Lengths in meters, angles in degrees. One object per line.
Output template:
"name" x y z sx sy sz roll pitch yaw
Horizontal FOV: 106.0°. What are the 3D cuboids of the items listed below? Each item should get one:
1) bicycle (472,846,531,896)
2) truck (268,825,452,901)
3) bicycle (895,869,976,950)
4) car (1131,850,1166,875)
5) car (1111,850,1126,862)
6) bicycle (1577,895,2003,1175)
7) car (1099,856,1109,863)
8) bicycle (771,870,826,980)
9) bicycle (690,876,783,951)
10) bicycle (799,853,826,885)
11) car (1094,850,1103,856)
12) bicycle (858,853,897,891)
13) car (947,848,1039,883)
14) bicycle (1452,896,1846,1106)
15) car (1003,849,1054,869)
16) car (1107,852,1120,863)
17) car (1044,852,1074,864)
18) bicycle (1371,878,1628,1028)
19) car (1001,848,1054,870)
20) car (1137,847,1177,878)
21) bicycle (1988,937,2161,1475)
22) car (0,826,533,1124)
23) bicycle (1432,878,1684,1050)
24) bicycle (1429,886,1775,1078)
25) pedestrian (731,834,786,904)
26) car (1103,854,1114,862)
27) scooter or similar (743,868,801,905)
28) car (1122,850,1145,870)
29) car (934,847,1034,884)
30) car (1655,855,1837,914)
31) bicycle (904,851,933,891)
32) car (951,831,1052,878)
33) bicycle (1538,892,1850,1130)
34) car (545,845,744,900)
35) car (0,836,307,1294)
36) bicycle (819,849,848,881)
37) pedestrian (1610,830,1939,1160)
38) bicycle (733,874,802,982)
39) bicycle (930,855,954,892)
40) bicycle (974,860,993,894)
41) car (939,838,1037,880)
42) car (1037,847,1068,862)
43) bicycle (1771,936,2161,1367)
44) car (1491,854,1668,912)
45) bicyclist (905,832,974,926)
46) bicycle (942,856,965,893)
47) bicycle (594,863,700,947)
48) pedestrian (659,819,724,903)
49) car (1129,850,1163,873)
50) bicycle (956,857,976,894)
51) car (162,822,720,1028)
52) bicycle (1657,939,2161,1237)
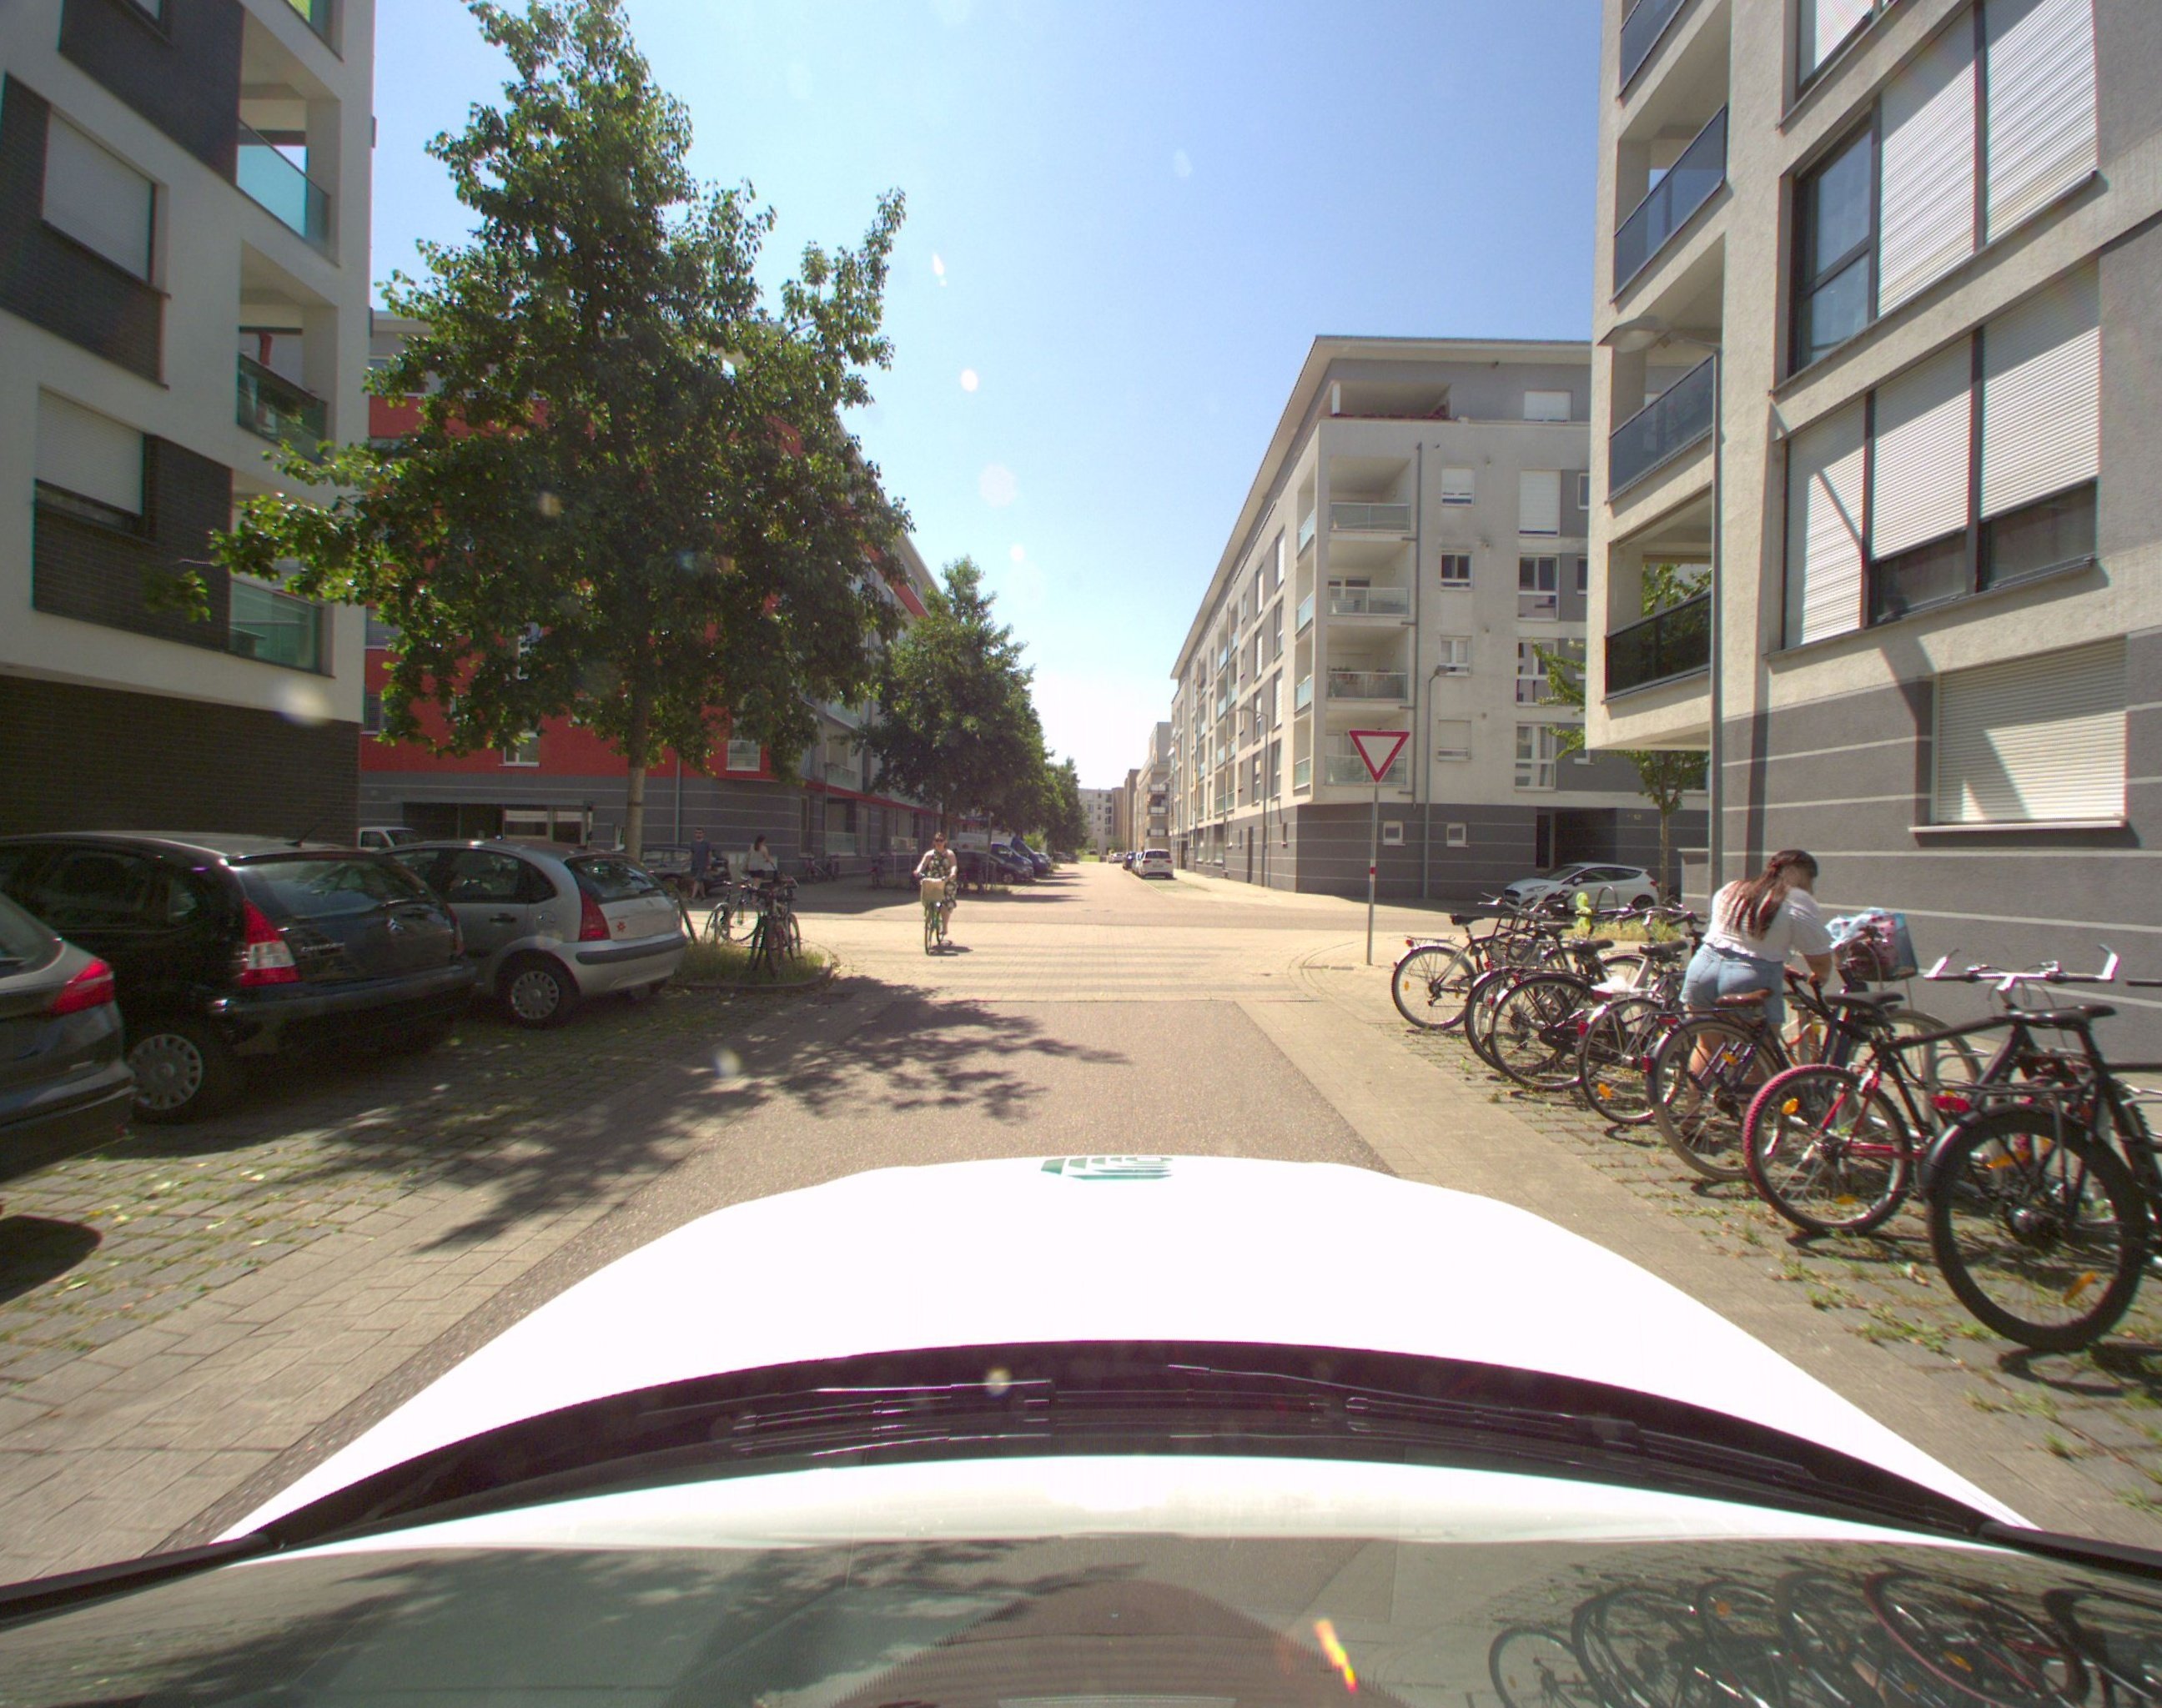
"bicycle" -16.638 0.462 23.345 2.320 1.378 0.687 1 0 37
"truck" -20.426 0.229 23.184 3.721 2.013 1.559 1 3 -2
"bicycle" -2.270 0.840 13.016 0.895 1.129 2.040 1 0 0
"car" 4.248 0.527 51.449 1.986 1.524 4.002 0 0 2
"car" 5.265 0.277 114.415 1.987 1.675 3.999 1 0 0
"bicycle" 3.503 0.836 4.050 1.922 1.218 0.459 0 0 -9
"car" 5.007 1.119 176.968 1.985 1.519 4.003 1 0 3
"bicycle" -3.436 0.814 10.000 0.371 1.180 1.814 0 0 -11
"bicycle" -5.078 0.844 12.112 0.531 0.990 1.678 3 0 3
"bicycle" -9.795 0.542 29.796 0.607 1.107 2.099 1 0 -10
"car" 4.292 -0.266 197.754 1.987 1.519 3.999 1 0 0
"bicycle" -7.073 0.601 28.401 0.687 1.170 2.224 3 1 1
"car" -4.415 0.553 41.301 4.368 1.542 1.878 2 0 0
"bicycle" 3.376 0.842 5.000 1.911 1.133 0.611 0 0 10
"car" -4.376 0.388 68.444 3.970 1.618 2.002 1 0 3
"car" 5.631 0.588 141.644 1.987 1.717 3.999 1 0 0
"car" -3.027 0.509 112.662 3.966 1.602 2.004 1 0 7
"bicycle" 3.534 0.817 6.997 1.851 1.193 0.688 0 0 3
"car" -4.208 0.391 64.705 3.970 1.662 2.002 1 0 3
"car" 4.218 0.433 45.747 1.990 1.657 4.117 0 0 2
"bicycle" 3.458 0.839 1.947 1.865 1.218 0.715 0 0 -3
"car" -6.107 0.622 5.227 3.971 1.555 1.801 0 0 2
"bicycle" 3.629 0.810 6.286 1.546 1.218 0.707 0 0 -1
"bicycle" 3.486 0.826 5.605 1.911 1.179 0.640 0 0 10
"pedestrian" -7.979 0.361 20.177 0.996 1.690 0.832 0 0 1
"car" 5.301 0.789 155.713 1.987 1.519 3.999 1 0 0
"scooter or similar" -7.981 0.829 21.063 1.064 0.888 1.019 1 0 2
"car" 4.248 0.461 65.860 1.749 1.552 4.005 1 0 4
"car" -4.538 0.534 38.620 4.368 1.515 2.075 3 0 0
"car" 18.809 0.838 23.147 3.778 1.558 1.727 1 0 1
"bicycle" -5.671 0.564 28.556 0.591 1.331 1.813 0 1 2
"car" -4.927 0.027 51.242 6.003 2.816 2.605 0 0 0
"bicycle" 3.502 0.818 4.634 1.839 1.148 0.458 0 0 -19
"car" -12.249 0.491 23.114 4.560 1.383 1.936 1 2 -2
"car" -5.575 0.625 2.578 4.171 1.486 1.957 2 -1 -3
"bicycle" -9.824 0.427 32.424 0.549 1.240 1.925 0 0 0
"pedestrian" 3.508 0.644 4.177 1.178 1.515 0.686 0 0 -9
"bicycle" -3.797 0.839 9.975 0.434 1.128 1.971 0 0 -11
"bicycle" -4.904 0.680 28.759 0.517 1.204 1.751 2 1 -1
"bicycle" -3.421 0.794 28.707 0.464 1.141 1.925 1 0 -1
"car" -5.160 0.251 45.812 5.127 2.119 2.312 2 0 0
"car" -3.825 0.030 110.085 3.965 2.013 2.004 1 0 7
"bicycle" 3.462 0.870 2.694 1.782 1.104 0.746 0 0 -3
"car" 14.157 0.794 23.263 3.975 1.469 1.755 1 3 -1
"bicyclist" -2.244 0.385 13.011 0.950 1.459 0.800 1 0 0
"bicycle" -4.446 0.698 28.502 0.432 1.204 1.700 2 1 2
"bicycle" -6.431 0.716 12.183 0.707 1.135 1.836 0 0 -5
"pedestrian" -9.613 0.160 20.140 1.004 2.013 1.130 0 0 4
"car" 4.455 0.511 56.277 1.987 1.524 3.999 0 0 0
"bicycle" -4.014 0.734 28.492 0.569 1.174 1.765 4 1 -6
"car" -5.580 0.568 7.498 3.617 1.520 1.832 2 0 0
"bicycle" 3.525 0.914 3.388 1.919 1.035 0.559 0 0 -3
